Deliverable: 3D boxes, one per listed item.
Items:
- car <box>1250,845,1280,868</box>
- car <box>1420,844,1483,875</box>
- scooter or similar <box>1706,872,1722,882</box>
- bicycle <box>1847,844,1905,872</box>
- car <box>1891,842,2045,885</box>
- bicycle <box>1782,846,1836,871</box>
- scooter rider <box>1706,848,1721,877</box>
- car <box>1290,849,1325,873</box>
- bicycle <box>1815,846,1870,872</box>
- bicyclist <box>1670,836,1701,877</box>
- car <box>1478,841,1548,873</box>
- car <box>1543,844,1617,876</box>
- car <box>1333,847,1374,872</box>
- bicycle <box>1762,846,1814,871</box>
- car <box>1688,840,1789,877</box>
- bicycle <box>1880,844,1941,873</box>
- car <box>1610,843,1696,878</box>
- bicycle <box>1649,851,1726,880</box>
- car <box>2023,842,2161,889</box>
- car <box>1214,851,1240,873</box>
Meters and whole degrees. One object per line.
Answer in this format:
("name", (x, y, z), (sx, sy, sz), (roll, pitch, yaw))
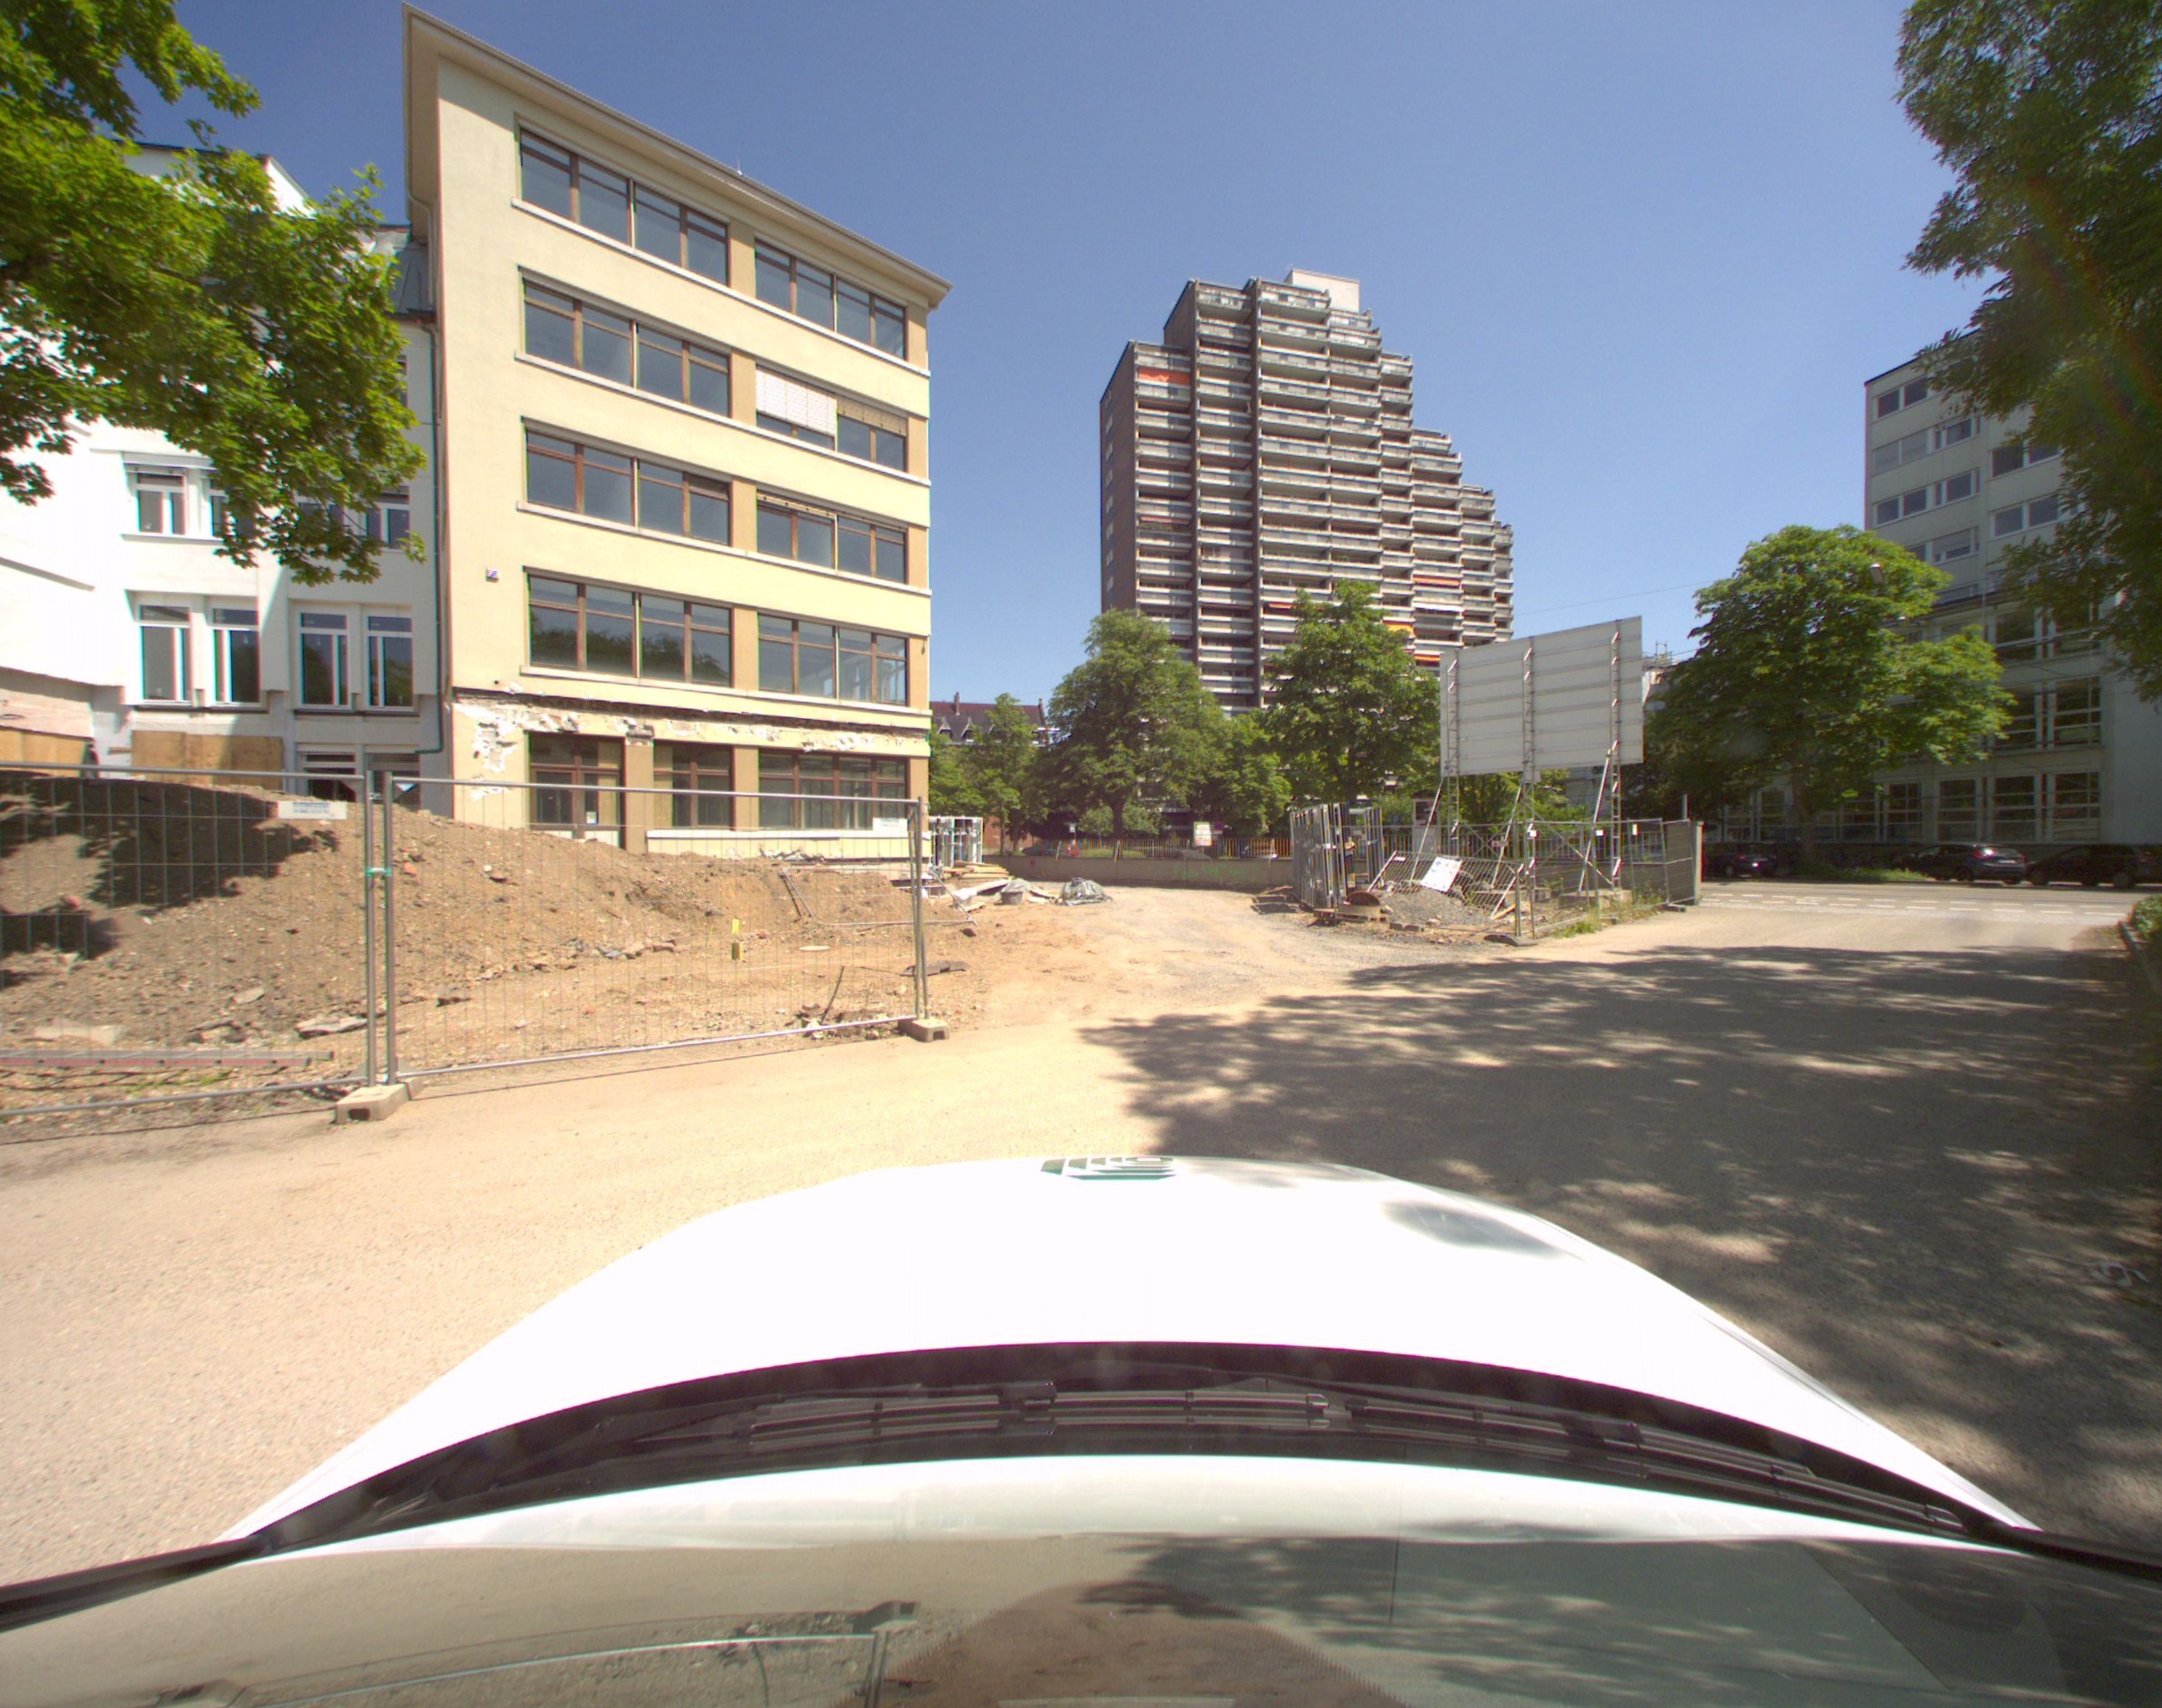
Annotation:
("car", (11.987, 0.158, 53.271), (1.624, 1.387, 3.687), (-1, 0, 8))
("car", (18.415, 0.260, 40.679), (1.626, 1.463, 3.680), (-1, 0, 3))
("scooter or similar", (24.764, 0.895, 31.867), (0.367, 0.359, 0.441), (0, -1, -44))
("bicycle", (35.314, 0.183, 36.162), (2.429, 1.188, 0.778), (-1, 0, -17))
("car", (31.984, 0.318, 29.526), (1.633, 1.463, 3.680), (-1, 0, 2))
("bicycle", (34.483, 0.200, 38.579), (2.382, 1.157, 0.778), (-1, 0, -17))
("scooter rider", (24.753, 0.324, 31.880), (0.361, 1.134, 0.412), (0, -1, -44))
("car", (14.027, 0.421, 50.597), (1.624, 1.387, 3.687), (-1, 0, 8))
("bicycle", (34.940, 0.219, 37.365), (2.382, 1.157, 0.778), (-1, 0, -17))
("bicyclist", (24.599, 0.096, 33.139), (0.863, 1.665, 0.889), (0, -1, -44))
("car", (21.310, 0.146, 40.300), (1.626, 1.463, 3.680), (-1, 0, 3))
("car", (23.602, 0.273, 38.660), (1.624, 1.463, 3.685), (-1, 0, 7))
("car", (15.977, 0.287, 47.852), (1.624, 1.387, 3.687), (-1, 0, 8))
("bicycle", (34.251, 0.221, 39.453), (2.382, 1.157, 0.778), (-1, 0, -17))
("car", (27.626, 0.160, 34.372), (1.624, 1.463, 3.685), (-1, 0, 7))
("bicycle", (35.690, 0.179, 35.037), (2.429, 1.188, 0.778), (-1, 0, -17))
("car", (25.694, 0.274, 36.734), (1.624, 1.463, 3.685), (-1, 0, 7))
("bicycle", (24.614, 0.462, 33.114), (0.791, 1.152, 2.410), (-1, 0, -44))
("car", (33.908, 0.350, 26.874), (1.599, 1.445, 3.683), (-1, 0, 5))
("car", (9.741, 0.505, 54.528), (1.624, 1.387, 3.687), (-1, 0, 8))
